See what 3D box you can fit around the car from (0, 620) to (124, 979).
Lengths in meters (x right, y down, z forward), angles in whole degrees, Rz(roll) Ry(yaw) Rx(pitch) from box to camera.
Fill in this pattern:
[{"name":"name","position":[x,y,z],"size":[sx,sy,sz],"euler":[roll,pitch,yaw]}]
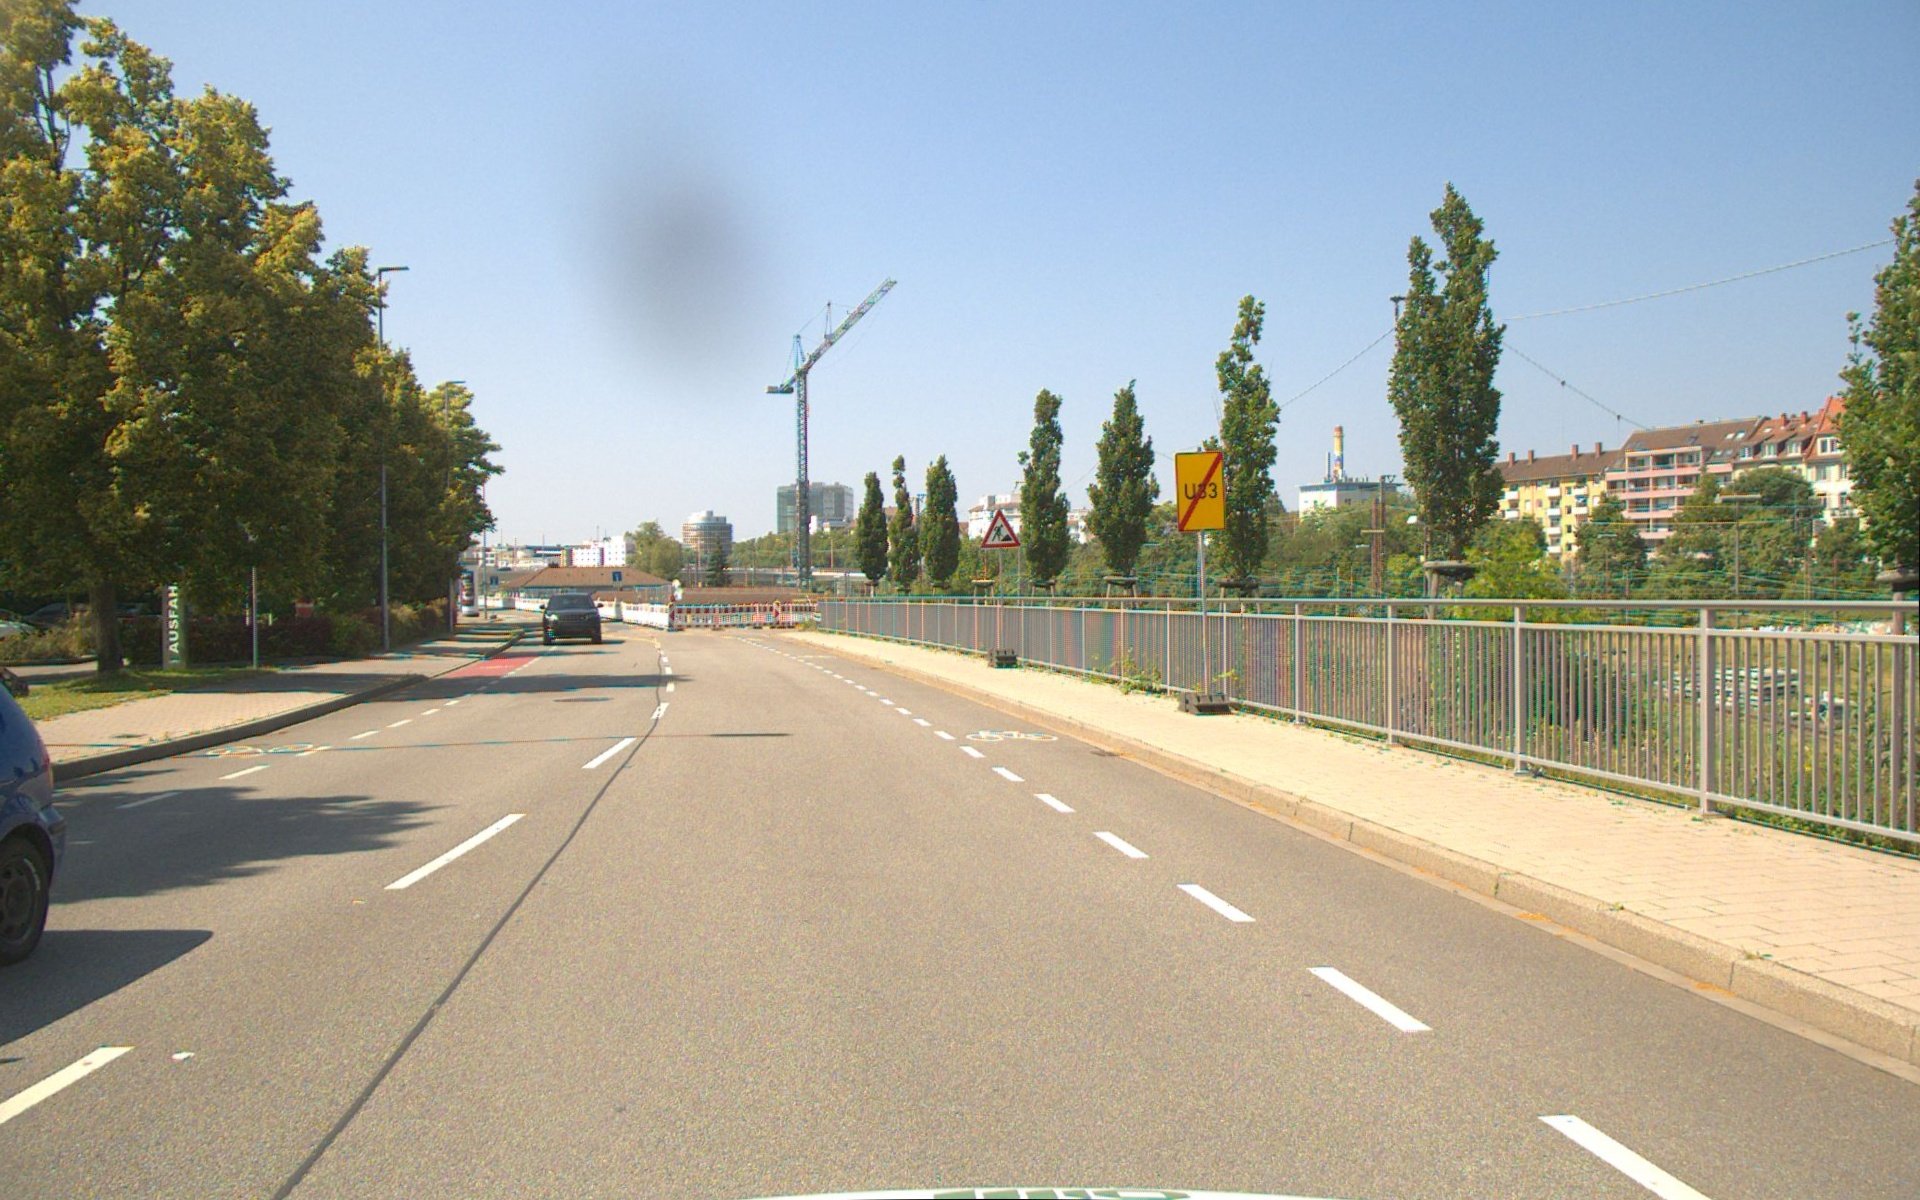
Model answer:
[{"name":"car","position":[-4.604,0.833,5.617],"size":[1.623,1.405,3.998],"euler":[-1,1,-3]}]

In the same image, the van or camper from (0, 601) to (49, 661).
[{"name":"van or camper","position":[-30.013,0.968,50.087],"size":[4.225,1.770,1.980],"euler":[-1,1,-30]}]

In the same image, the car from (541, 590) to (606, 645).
[{"name":"car","position":[-13.098,0.539,55.858],"size":[1.918,1.725,4.593],"euler":[-1,1,-15]}]
